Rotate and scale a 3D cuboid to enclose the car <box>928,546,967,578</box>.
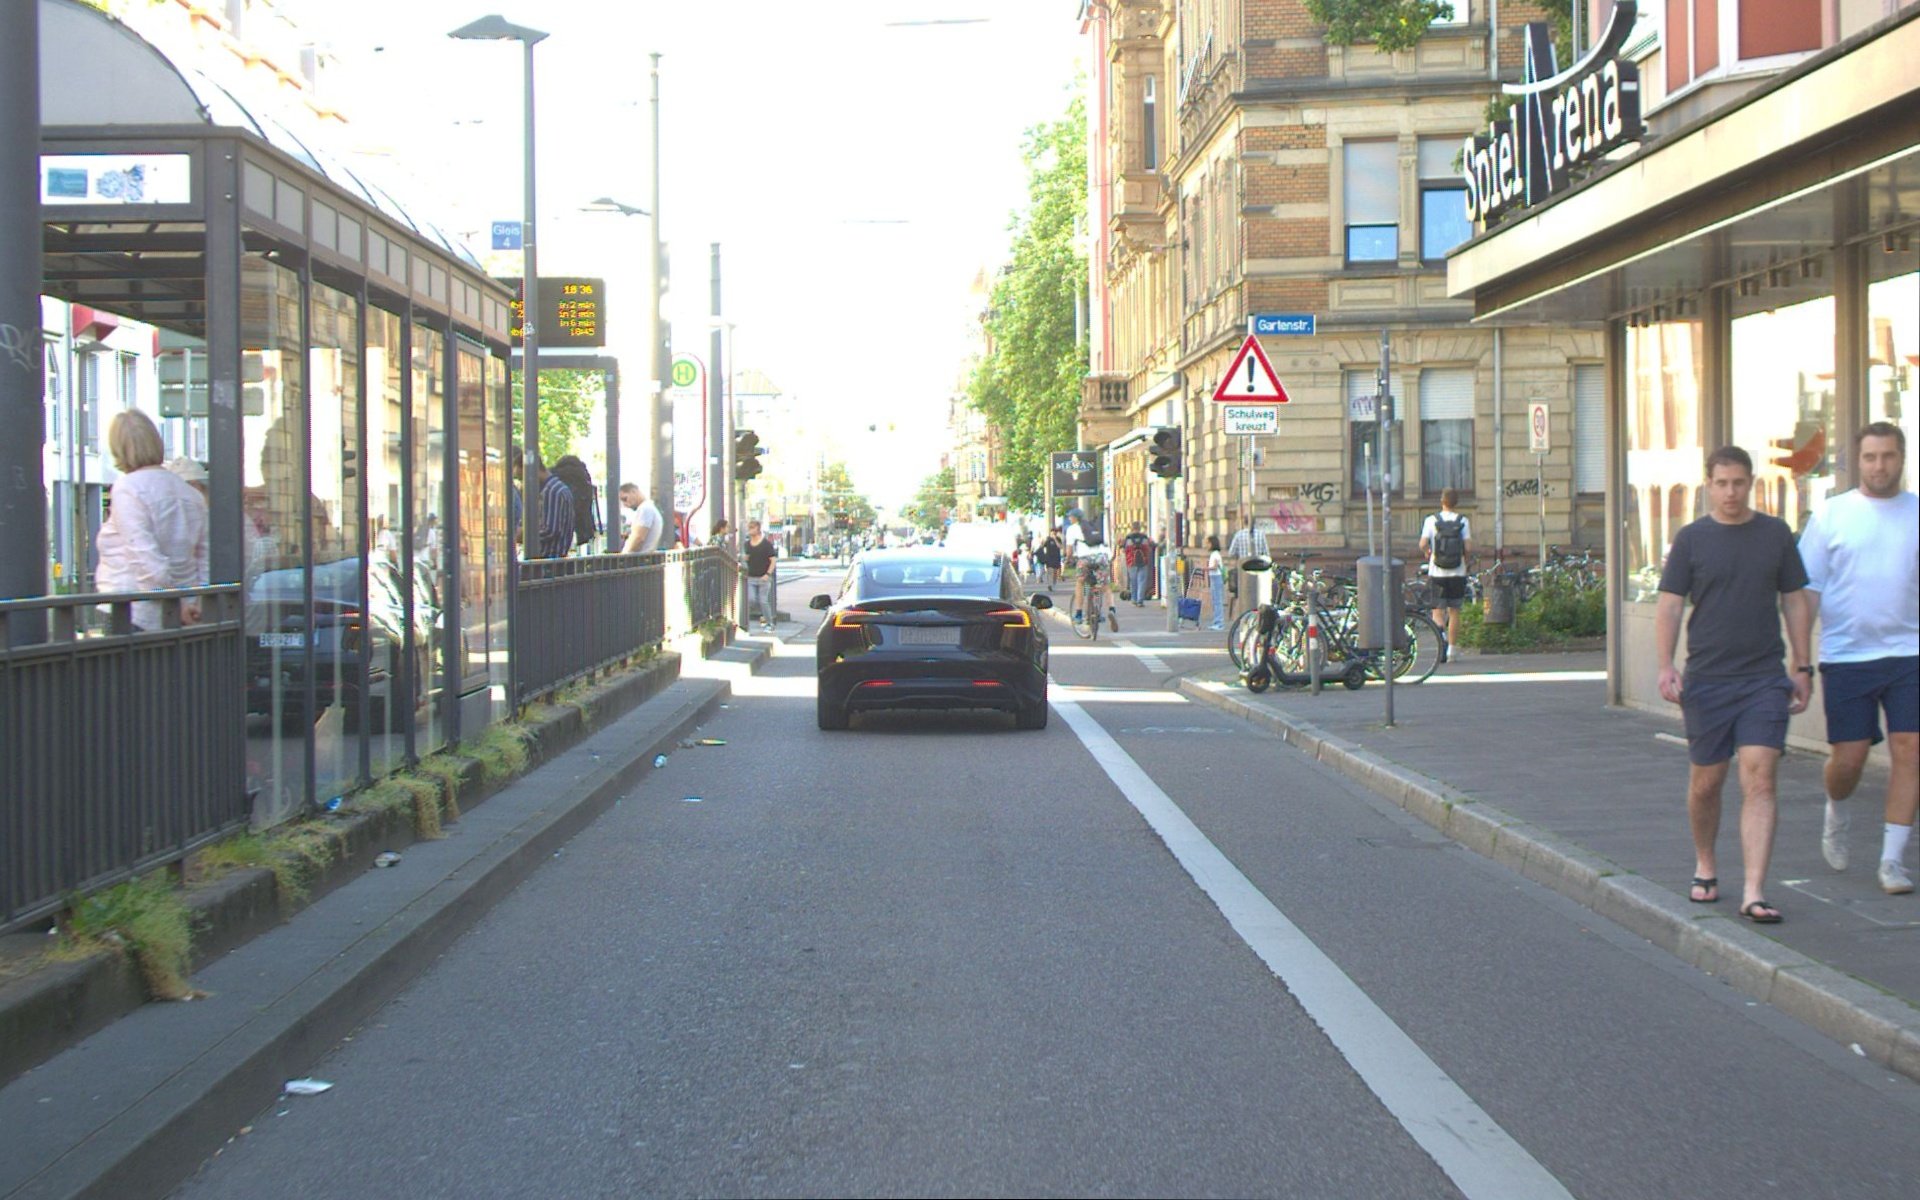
[{"bbox_3d":[-0.580,-1.760,158.878,1.710,1.452,4.551,1,0,-1],"label":"car"}]

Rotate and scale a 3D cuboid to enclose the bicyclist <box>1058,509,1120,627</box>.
[{"bbox_3d":[1.823,-0.453,48.520,0.655,1.650,0.927,0,1,-13],"label":"bicyclist"}]

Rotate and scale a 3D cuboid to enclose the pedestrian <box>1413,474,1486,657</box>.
[{"bbox_3d":[5.492,-0.376,38.636,0.716,1.978,0.943,1,-3,4],"label":"pedestrian"}]

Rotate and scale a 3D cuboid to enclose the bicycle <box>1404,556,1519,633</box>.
[{"bbox_3d":[7.364,-0.091,50.515,0.443,1.111,1.814,-1,1,-41],"label":"bicycle"}]

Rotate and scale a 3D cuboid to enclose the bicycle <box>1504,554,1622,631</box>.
[{"bbox_3d":[8.840,-0.119,50.467,0.443,1.111,1.814,-1,1,-41],"label":"bicycle"}]

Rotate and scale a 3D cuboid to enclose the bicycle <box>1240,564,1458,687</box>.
[{"bbox_3d":[3.627,0.232,32.136,1.945,1.103,0.564,-1,1,-2],"label":"bicycle"}]

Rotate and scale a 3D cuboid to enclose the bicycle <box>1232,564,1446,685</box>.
[{"bbox_3d":[3.604,0.228,32.750,1.945,1.103,0.564,-1,1,-2],"label":"bicycle"}]

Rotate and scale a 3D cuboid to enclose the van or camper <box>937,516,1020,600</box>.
[{"bbox_3d":[0.445,-1.049,87.832,1.931,2.030,5.476,1,0,-1],"label":"van or camper"}]

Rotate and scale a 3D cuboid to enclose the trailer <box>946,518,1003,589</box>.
[{"bbox_3d":[0.461,-1.420,105.241,1.661,2.109,3.842,1,1,1],"label":"trailer"}]

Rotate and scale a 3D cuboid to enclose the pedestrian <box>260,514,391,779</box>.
[{"bbox_3d":[-3.040,0.217,16.500,0.540,1.248,0.460,1,0,-2],"label":"pedestrian"}]

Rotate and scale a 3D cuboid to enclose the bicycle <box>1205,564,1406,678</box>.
[{"bbox_3d":[3.492,0.208,34.812,1.945,1.103,0.564,-1,1,-2],"label":"bicycle"}]

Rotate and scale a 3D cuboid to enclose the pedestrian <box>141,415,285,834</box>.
[{"bbox_3d":[-2.850,0.087,13.145,0.424,1.568,0.592,0,1,-1],"label":"pedestrian"}]

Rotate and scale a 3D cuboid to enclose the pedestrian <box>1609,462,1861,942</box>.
[{"bbox_3d":[2.911,0.366,12.983,0.667,1.723,0.810,-3,1,-1],"label":"pedestrian"}]

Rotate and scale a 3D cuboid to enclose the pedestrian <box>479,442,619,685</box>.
[{"bbox_3d":[-3.155,-0.277,26.353,0.770,1.825,0.804,1,0,-31],"label":"pedestrian"}]

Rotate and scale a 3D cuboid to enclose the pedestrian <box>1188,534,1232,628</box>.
[{"bbox_3d":[3.815,-0.297,52.471,0.574,1.410,0.580,1,1,12],"label":"pedestrian"}]

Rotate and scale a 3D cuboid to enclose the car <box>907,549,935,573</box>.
[{"bbox_3d":[-2.375,-2.356,209.281,1.593,1.428,3.686,-1,0,0],"label":"car"}]

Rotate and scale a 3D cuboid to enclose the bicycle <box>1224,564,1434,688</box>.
[{"bbox_3d":[3.576,0.248,33.405,1.945,1.162,0.628,-1,1,-2],"label":"bicycle"}]

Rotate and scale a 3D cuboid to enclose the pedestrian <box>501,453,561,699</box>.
[{"bbox_3d":[-2.930,-0.167,23.525,0.351,1.663,0.529,0,1,-2],"label":"pedestrian"}]

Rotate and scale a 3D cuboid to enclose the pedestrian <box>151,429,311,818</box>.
[{"bbox_3d":[-2.996,0.092,14.134,0.541,1.567,0.322,0,1,-38],"label":"pedestrian"}]

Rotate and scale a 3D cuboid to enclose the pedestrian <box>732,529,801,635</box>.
[{"bbox_3d":[-2.861,-0.269,50.880,0.843,1.543,0.698,0,1,15],"label":"pedestrian"}]

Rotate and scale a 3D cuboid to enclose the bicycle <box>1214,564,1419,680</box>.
[{"bbox_3d":[3.534,0.215,34.164,1.945,1.103,0.564,-1,1,-2],"label":"bicycle"}]

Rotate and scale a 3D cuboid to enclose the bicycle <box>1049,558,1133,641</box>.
[{"bbox_3d":[1.839,-0.024,48.459,0.647,1.135,2.096,0,1,-13],"label":"bicycle"}]

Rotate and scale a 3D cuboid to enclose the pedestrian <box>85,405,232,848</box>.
[{"bbox_3d":[-2.888,0.090,12.407,0.424,1.568,0.448,0,1,-1],"label":"pedestrian"}]

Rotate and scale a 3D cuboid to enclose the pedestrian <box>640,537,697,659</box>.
[{"bbox_3d":[-3.197,-0.019,37.736,0.480,1.324,0.354,0,1,29],"label":"pedestrian"}]

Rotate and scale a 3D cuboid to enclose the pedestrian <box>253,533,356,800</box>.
[{"bbox_3d":[-2.876,0.286,15.100,0.365,1.148,0.460,1,0,-2],"label":"pedestrian"}]

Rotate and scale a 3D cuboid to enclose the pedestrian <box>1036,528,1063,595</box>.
[{"bbox_3d":[2.445,-1.044,93.747,0.672,1.808,0.756,0,0,-2],"label":"pedestrian"}]

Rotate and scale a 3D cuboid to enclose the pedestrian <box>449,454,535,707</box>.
[{"bbox_3d":[-3.080,-0.134,22.649,0.493,1.643,0.590,0,1,-2],"label":"pedestrian"}]

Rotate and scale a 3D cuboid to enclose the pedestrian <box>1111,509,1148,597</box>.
[{"bbox_3d":[3.355,-0.925,67.963,0.470,1.722,0.586,0,2,35],"label":"pedestrian"}]

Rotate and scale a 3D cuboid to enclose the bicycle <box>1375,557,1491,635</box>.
[{"bbox_3d":[6.911,-0.069,50.298,0.443,1.111,1.814,-1,1,-41],"label":"bicycle"}]

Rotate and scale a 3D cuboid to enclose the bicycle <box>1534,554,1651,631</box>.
[{"bbox_3d":[9.321,-0.114,50.703,0.443,1.111,1.814,-1,1,-41],"label":"bicycle"}]

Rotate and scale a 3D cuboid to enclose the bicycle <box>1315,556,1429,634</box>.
[{"bbox_3d":[5.978,-0.079,49.923,0.443,1.111,1.814,-1,1,-41],"label":"bicycle"}]

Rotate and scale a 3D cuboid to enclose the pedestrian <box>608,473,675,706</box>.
[{"bbox_3d":[-2.929,-0.105,31.684,0.537,2.113,0.808,-1,1,-1],"label":"pedestrian"}]

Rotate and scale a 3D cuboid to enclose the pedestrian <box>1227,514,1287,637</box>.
[{"bbox_3d":[4.411,-0.371,51.088,0.847,1.801,0.876,-1,2,4],"label":"pedestrian"}]

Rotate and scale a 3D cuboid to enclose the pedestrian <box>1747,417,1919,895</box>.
[{"bbox_3d":[3.599,0.202,13.580,0.706,1.814,0.763,-3,1,-1],"label":"pedestrian"}]

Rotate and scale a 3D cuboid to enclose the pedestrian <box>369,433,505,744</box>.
[{"bbox_3d":[-3.012,-0.072,19.850,0.689,1.759,0.748,0,1,-2],"label":"pedestrian"}]

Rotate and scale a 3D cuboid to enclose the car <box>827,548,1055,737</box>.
[{"bbox_3d":[-0.204,0.294,28.021,1.719,1.400,3.710,1,1,-2],"label":"car"}]

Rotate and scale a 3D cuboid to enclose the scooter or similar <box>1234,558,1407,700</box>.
[{"bbox_3d":[3.293,0.262,31.478,1.478,1.225,0.591,-2,1,0],"label":"scooter or similar"}]

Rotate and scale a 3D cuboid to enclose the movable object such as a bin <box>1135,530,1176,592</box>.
[{"bbox_3d":[4.265,-0.855,75.138,0.775,1.343,1.299,0,1,-2],"label":"movable object such as a bin"}]

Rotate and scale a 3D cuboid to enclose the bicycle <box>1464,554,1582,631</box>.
[{"bbox_3d":[8.227,-0.118,50.282,0.443,1.111,1.814,-1,1,-41],"label":"bicycle"}]

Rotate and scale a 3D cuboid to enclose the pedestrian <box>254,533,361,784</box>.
[{"bbox_3d":[-3.036,0.266,16.004,0.408,1.148,0.460,1,0,-2],"label":"pedestrian"}]
